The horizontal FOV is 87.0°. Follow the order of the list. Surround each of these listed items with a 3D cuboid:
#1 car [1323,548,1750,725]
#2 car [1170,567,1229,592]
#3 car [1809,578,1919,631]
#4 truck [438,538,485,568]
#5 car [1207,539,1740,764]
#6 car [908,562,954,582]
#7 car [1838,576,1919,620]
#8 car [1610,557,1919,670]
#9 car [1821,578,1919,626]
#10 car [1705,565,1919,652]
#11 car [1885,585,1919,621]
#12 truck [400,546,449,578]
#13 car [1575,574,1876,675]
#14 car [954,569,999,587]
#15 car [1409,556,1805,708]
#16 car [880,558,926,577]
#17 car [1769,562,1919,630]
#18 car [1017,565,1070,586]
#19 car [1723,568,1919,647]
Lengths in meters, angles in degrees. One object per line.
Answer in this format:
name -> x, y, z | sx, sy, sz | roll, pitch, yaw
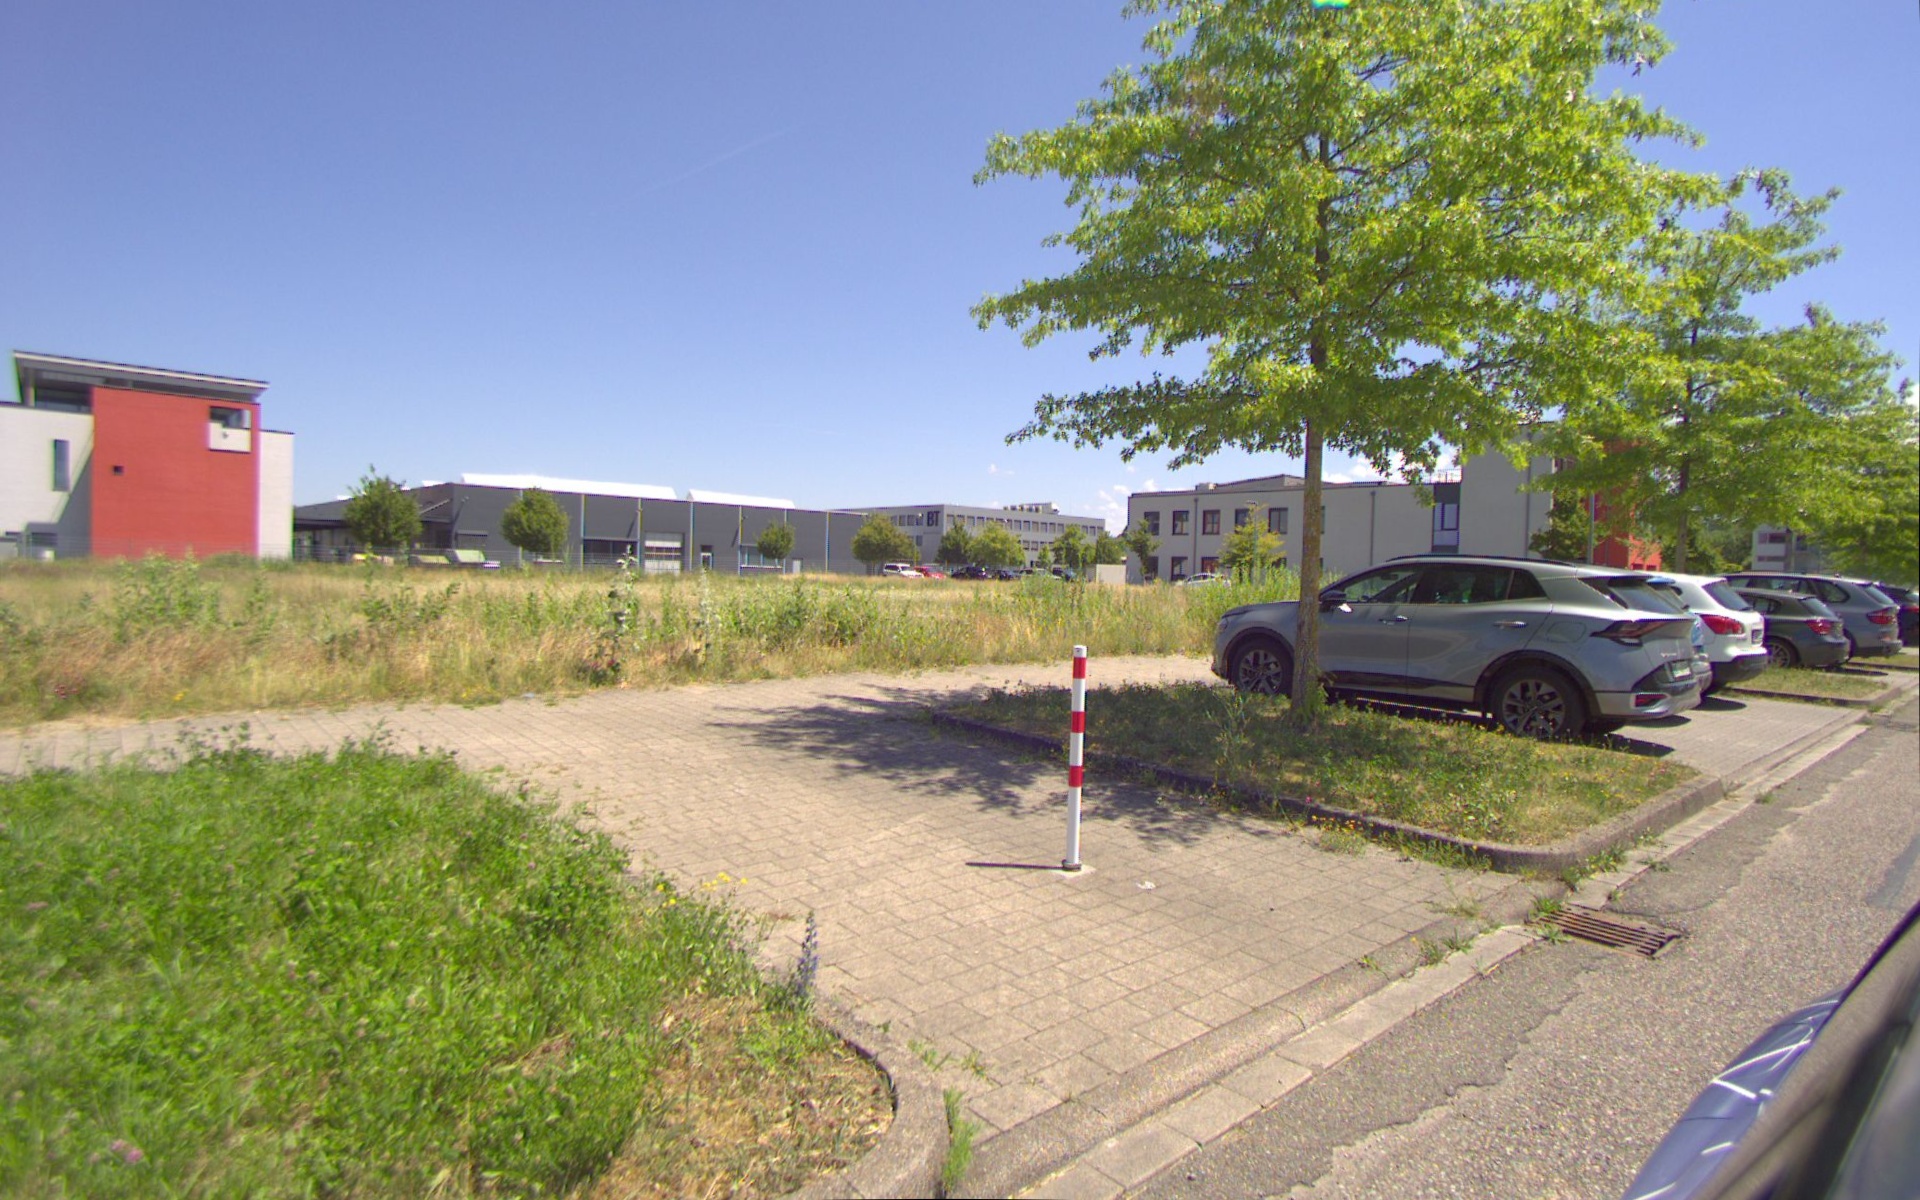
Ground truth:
car -> 6.644, 0.279, 12.001 | 1.807, 1.664, 3.994 | 0, 3, -42
car -> 15.305, -1.317, 64.818 | 1.689, 1.528, 3.329 | 0, 2, -41
car -> 30.055, 0.154, 32.798 | 1.647, 1.521, 3.640 | 0, 4, -40
truck -> -35.277, -3.345, 71.527 | 1.966, 2.038, 3.994 | 0, 2, -42
car -> 4.806, 0.299, 10.011 | 1.819, 1.664, 4.288 | 0, 4, -41
car -> -2.471, -2.383, 85.474 | 1.689, 1.528, 3.995 | 0, 2, -41
car -> 38.257, -0.049, 40.797 | 1.663, 1.644, 4.056 | 0, 3, -41
car -> 15.398, 0.152, 19.477 | 1.959, 1.790, 4.455 | 0, 3, -43
car -> 34.800, 0.128, 37.109 | 1.882, 1.580, 4.721 | 0, 4, -45
car -> 19.964, 0.144, 23.309 | 1.752, 1.717, 4.181 | 0, 4, -42
car -> 43.829, 0.206, 44.875 | 1.746, 1.572, 3.847 | 2, 2, -36
truck -> -36.663, -2.621, 69.261 | 1.966, 2.038, 4.349 | 0, 2, -42
car -> 13.401, 0.332, 17.894 | 1.877, 1.426, 3.930 | -2, 4, -41
car -> 1.399, -1.946, 89.158 | 1.689, 1.528, 3.995 | 0, 2, -41
car -> 8.471, 0.280, 13.535 | 1.868, 1.627, 4.077 | -1, 4, -41
car -> -4.761, -2.715, 84.262 | 1.689, 1.470, 3.995 | 0, 2, -41
car -> 28.061, -0.147, 31.323 | 1.764, 1.852, 4.414 | 0, 4, -40
car -> 6.533, -1.945, 79.297 | 1.690, 1.528, 3.993 | 0, 2, -42
car -> 21.809, 0.127, 25.434 | 1.751, 1.698, 3.884 | 0, 3, -41
